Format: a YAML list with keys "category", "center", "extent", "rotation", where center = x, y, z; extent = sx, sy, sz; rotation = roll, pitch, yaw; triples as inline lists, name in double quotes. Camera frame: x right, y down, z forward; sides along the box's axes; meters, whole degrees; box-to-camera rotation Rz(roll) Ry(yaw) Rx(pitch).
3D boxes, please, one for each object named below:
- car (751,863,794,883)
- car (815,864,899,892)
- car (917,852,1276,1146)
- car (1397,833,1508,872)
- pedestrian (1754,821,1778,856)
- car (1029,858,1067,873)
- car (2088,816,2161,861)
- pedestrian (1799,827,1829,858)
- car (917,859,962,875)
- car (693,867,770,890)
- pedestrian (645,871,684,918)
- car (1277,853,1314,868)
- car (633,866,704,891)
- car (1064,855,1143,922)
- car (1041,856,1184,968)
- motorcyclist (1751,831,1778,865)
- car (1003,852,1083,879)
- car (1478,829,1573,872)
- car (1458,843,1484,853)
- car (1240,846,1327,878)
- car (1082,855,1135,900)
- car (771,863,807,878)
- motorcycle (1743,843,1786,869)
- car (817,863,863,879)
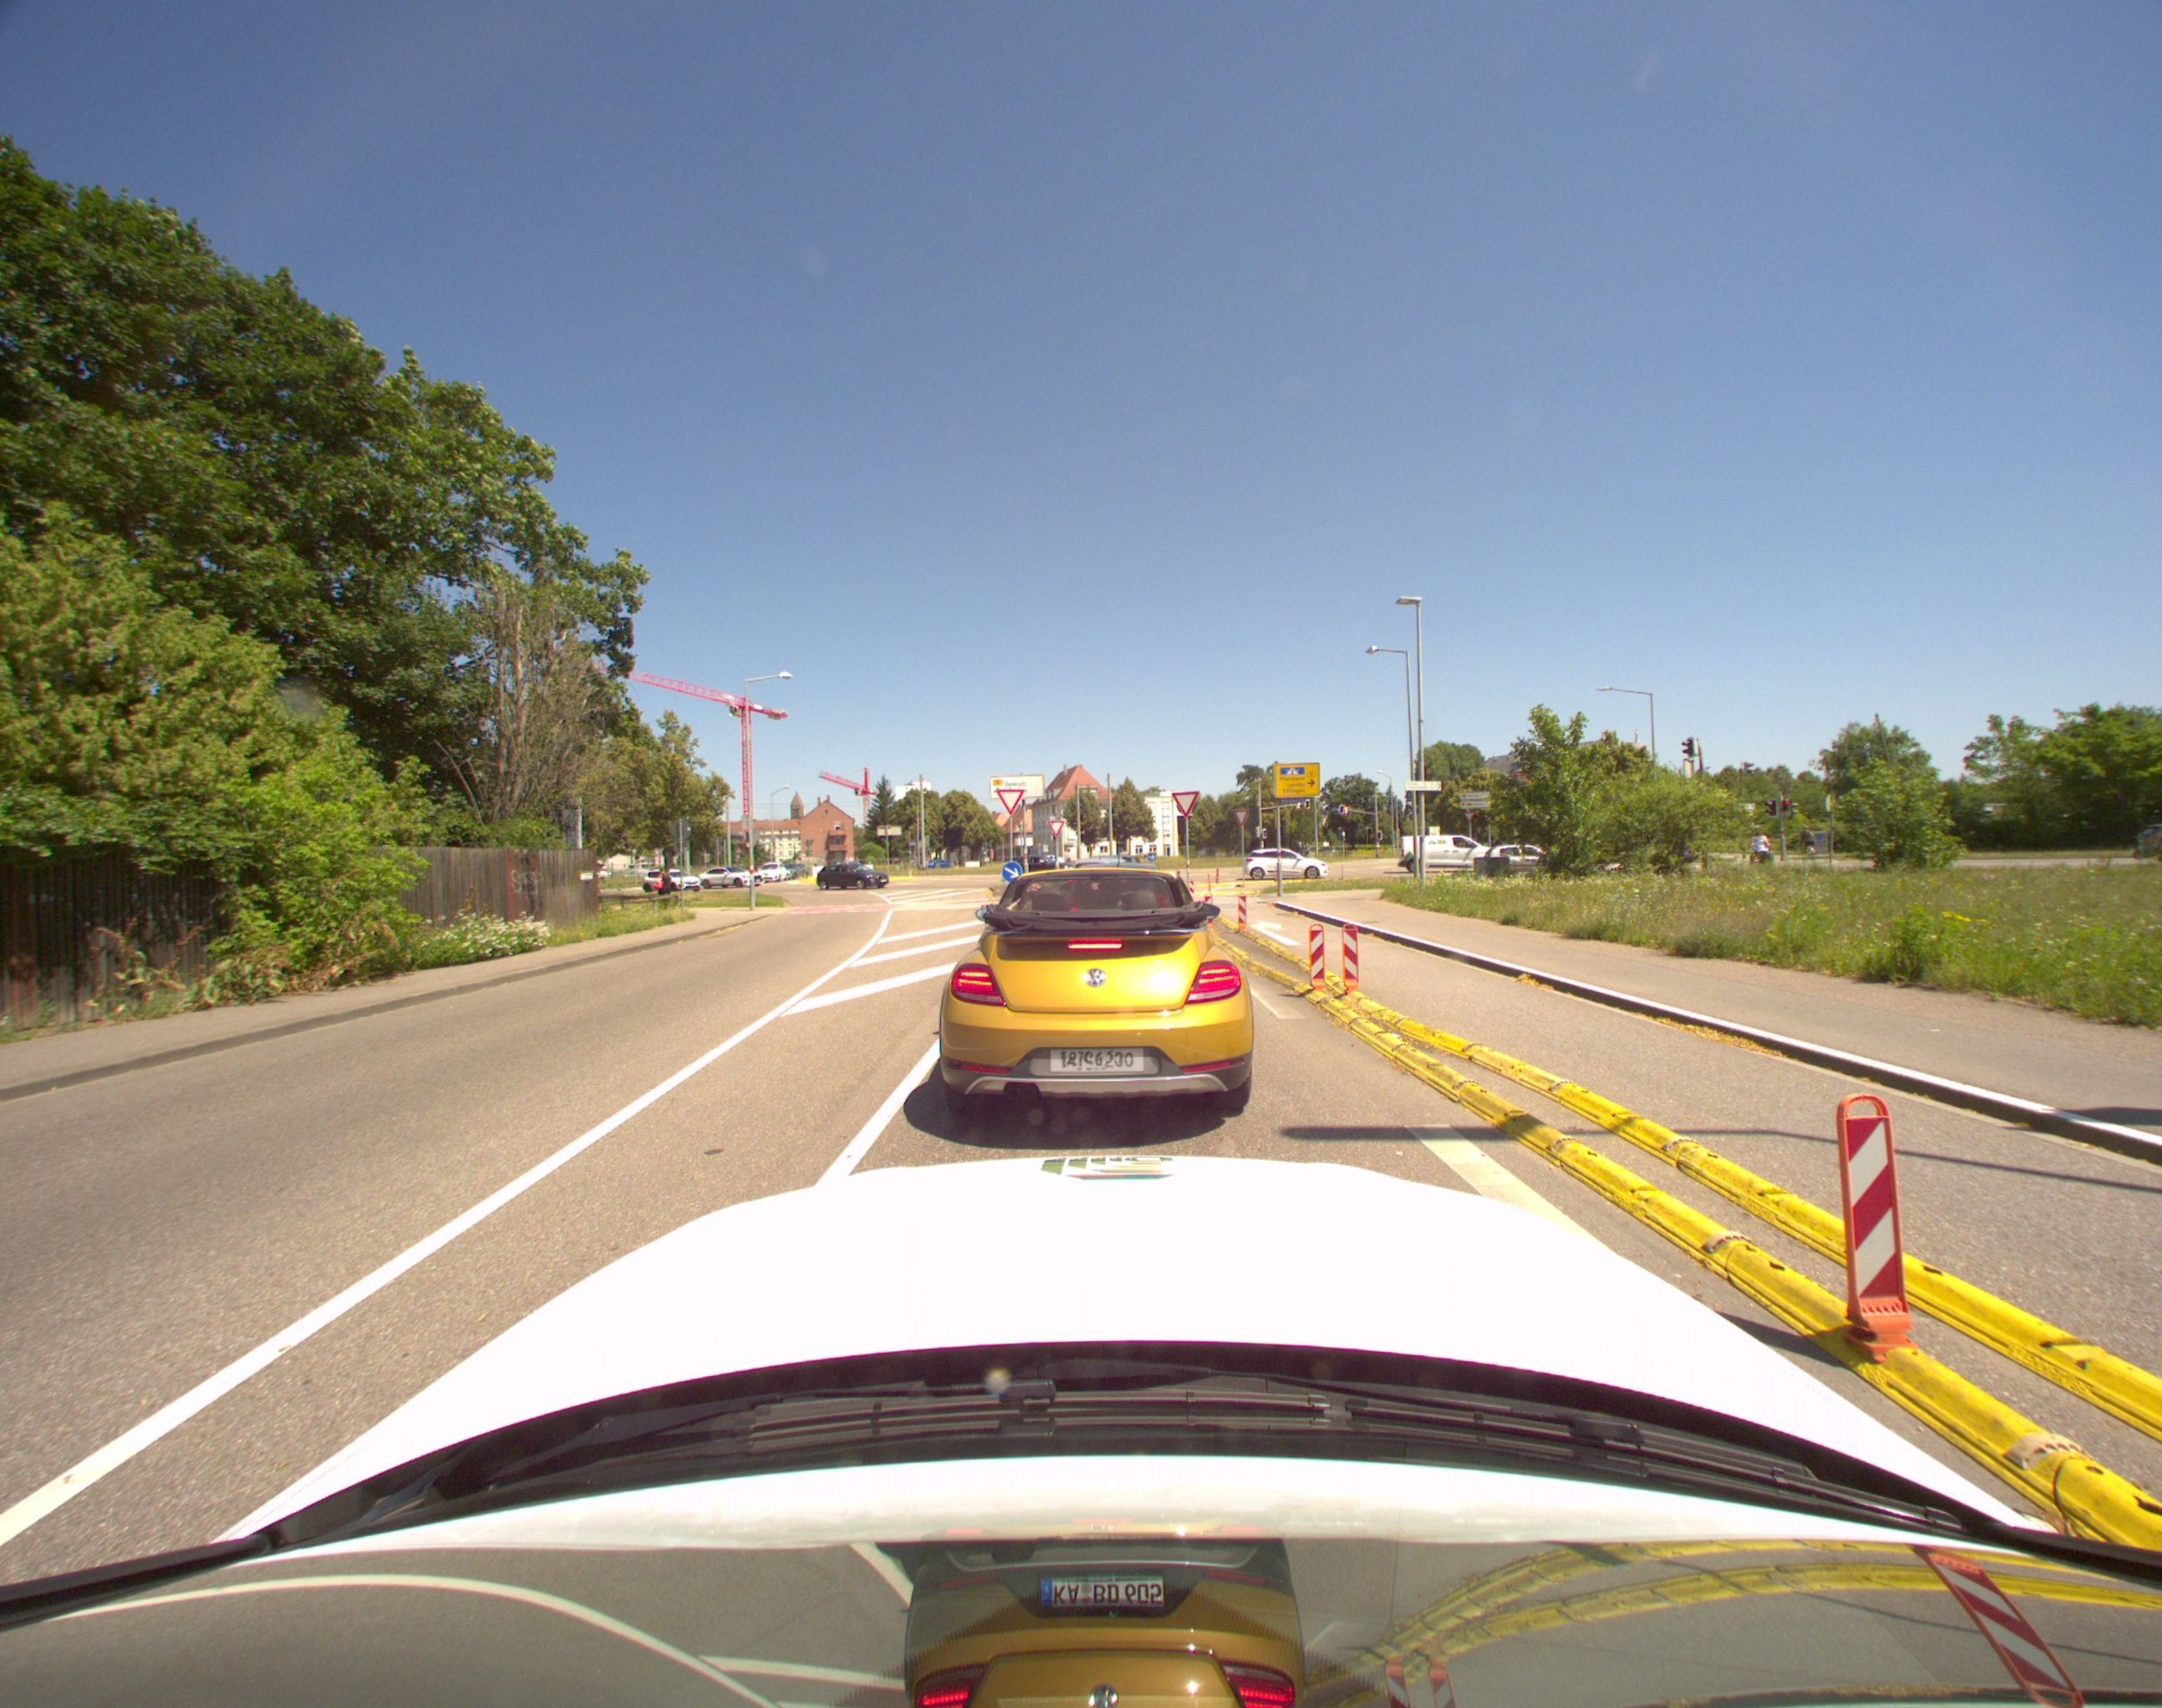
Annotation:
- category: "car"
  center: [-24.579, 1.488, 64.988]
  extent: [1.749, 1.549, 4.002]
  rotation: [-1, 0, 2]
- category: "car"
  center: [-12.380, 1.311, 45.052]
  extent: [4.165, 1.442, 2.012]
  rotation: [-1, 0, 26]
- category: "car"
  center: [0.125, 0.723, 5.910]
  extent: [1.746, 1.422, 3.778]
  rotation: [-1, 0, 1]
- category: "car"
  center: [18.937, -0.071, 41.771]
  extent: [4.931, 1.850, 2.009]
  rotation: [-1, 0, 17]
- category: "pedestrian"
  center: [36.661, -0.812, 43.575]
  extent: [0.647, 1.870, 0.737]
  rotation: [-1, -1, 3]
- category: "car"
  center: [-4.328, 1.455, 105.647]
  extent: [4.669, 1.828, 1.994]
  rotation: [-1, 0, -9]
- category: "car"
  center: [39.916, -0.576, 29.222]
  extent: [4.390, 1.596, 2.013]
  rotation: [-1, 0, 39]
- category: "pedestrian"
  center: [37.863, -0.569, 42.047]
  extent: [0.789, 1.563, 0.823]
  rotation: [-1, -1, 3]
- category: "car"
  center: [-17.196, 1.572, 98.787]
  extent: [4.952, 1.786, 2.005]
  rotation: [-3, 0, -34]
- category: "car"
  center: [-24.964, 1.758, 58.137]
  extent: [4.949, 1.509, 2.010]
  rotation: [-1, 0, 20]
- category: "pedestrian"
  center: [-14.425, 1.396, 28.197]
  extent: [0.866, 1.563, 0.816]
  rotation: [-1, -1, 27]
- category: "car"
  center: [26.802, 0.849, 101.651]
  extent: [1.957, 1.672, 4.156]
  rotation: [-2, 0, -34]
- category: "car"
  center: [-27.219, 1.617, 53.738]
  extent: [4.531, 1.566, 2.012]
  rotation: [-1, 0, 30]
- category: "car"
  center: [0.573, 0.770, 20.049]
  extent: [1.730, 1.442, 4.002]
  rotation: [-1, 0, 2]
- category: "car"
  center: [0.478, 0.770, 12.657]
  extent: [1.841, 1.442, 4.002]
  rotation: [-1, 0, 2]
- category: "motorcyclist"
  center: [25.869, -0.224, 30.838]
  extent: [0.616, 1.289, 0.576]
  rotation: [-1, -1, -28]
- category: "car"
  center: [-2.131, 0.677, 46.637]
  extent: [4.159, 1.442, 2.007]
  rotation: [-1, 0, 12]
- category: "car"
  center: [20.166, -0.152, 37.083]
  extent: [3.633, 1.850, 1.642]
  rotation: [-1, 0, 24]
- category: "car"
  center: [71.795, -1.061, 149.848]
  extent: [3.993, 1.714, 1.990]
  rotation: [-1, 0, -15]
- category: "car"
  center: [9.761, 0.369, 39.532]
  extent: [3.983, 1.444, 1.637]
  rotation: [-1, 0, 10]
- category: "car"
  center: [0.986, 0.786, 28.878]
  extent: [1.730, 1.477, 4.002]
  rotation: [-1, 0, 2]
- category: "car"
  center: [-25.201, 1.430, 70.413]
  extent: [1.702, 1.236, 3.785]
  rotation: [-1, 0, -1]
- category: "motorcycle"
  center: [25.849, 0.064, 30.792]
  extent: [1.712, 0.970, 0.625]
  rotation: [-1, -1, -28]
- category: "car"
  center: [-23.673, 1.647, 80.157]
  extent: [1.690, 1.500, 4.247]
  rotation: [-1, 0, 34]
